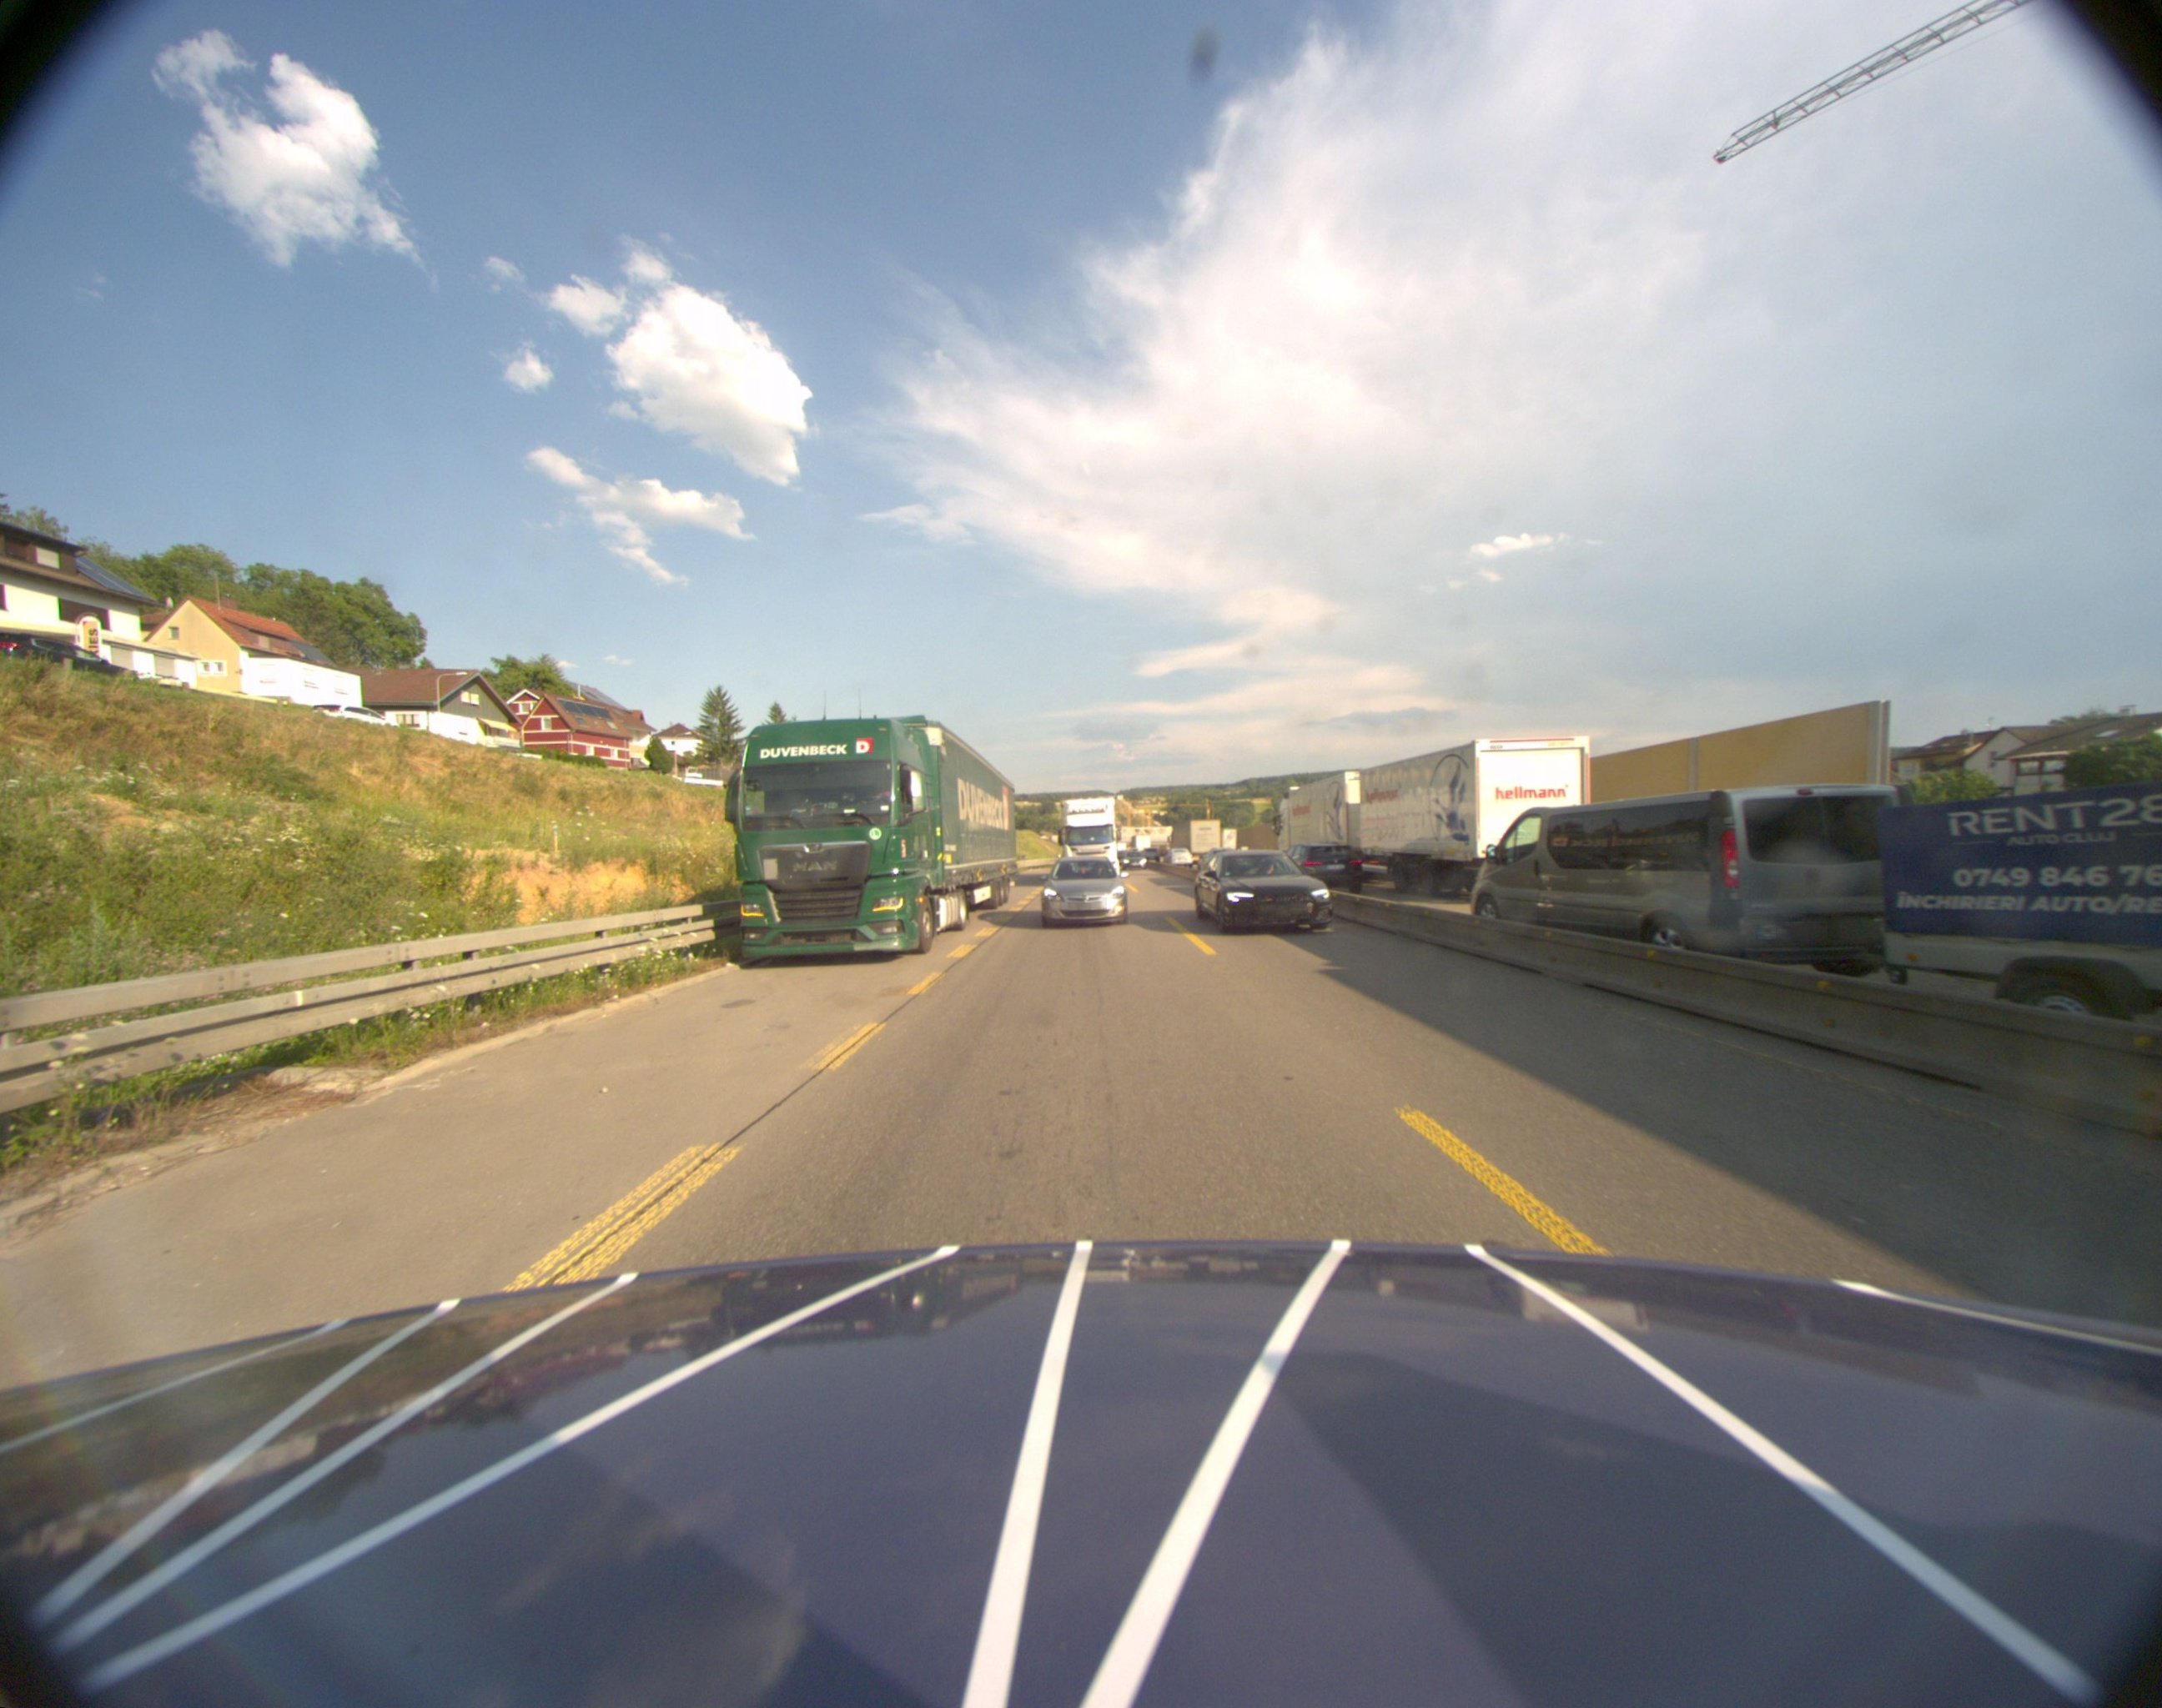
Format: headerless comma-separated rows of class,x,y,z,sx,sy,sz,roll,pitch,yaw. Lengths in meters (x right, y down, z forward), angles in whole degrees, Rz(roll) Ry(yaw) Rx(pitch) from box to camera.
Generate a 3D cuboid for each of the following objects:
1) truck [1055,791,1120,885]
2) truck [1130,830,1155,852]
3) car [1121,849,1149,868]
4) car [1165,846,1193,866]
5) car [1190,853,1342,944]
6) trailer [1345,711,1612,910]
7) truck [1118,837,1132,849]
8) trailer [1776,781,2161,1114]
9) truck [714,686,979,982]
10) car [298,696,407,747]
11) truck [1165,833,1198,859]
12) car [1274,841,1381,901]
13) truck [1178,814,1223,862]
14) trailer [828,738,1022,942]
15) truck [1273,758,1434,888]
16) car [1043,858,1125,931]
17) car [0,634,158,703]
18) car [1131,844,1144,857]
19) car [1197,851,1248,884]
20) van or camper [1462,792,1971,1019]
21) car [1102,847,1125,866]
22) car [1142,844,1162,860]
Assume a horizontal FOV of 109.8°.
truck,0.404,-0.770,39.768,2.741,4.033,12.669,-2,1,1
truck,11.266,-2.297,139.724,3.876,3.766,9.141,-2,1,1
car,4.029,0.321,57.277,1.692,1.293,3.882,-2,1,-1
car,7.483,0.110,58.253,1.624,1.448,3.232,-2,1,0
car,3.327,0.720,14.581,1.873,1.411,4.348,-1,1,1
trailer,10.274,-0.998,21.099,2.834,4.258,8.734,-2,1,1
truck,13.422,-3.233,232.483,3.458,3.476,10.734,-2,1,1
trailer,6.692,0.481,5.028,1.452,1.843,2.984,-2,1,1
truck,-3.642,-0.304,13.525,2.547,3.992,6.071,-2,1,1
car,-39.269,-7.101,41.123,1.999,2.002,3.999,-2,1,-2
truck,10.996,-0.854,83.483,2.694,2.682,7.358,-2,1,1
car,7.130,0.435,22.428,1.861,1.565,4.000,-2,1,1
truck,10.822,-1.376,69.325,2.873,4.038,7.598,-2,1,1
trailer,-3.509,-0.338,20.919,2.554,3.911,12.077,-2,1,1
truck,10.407,-1.090,30.497,2.834,4.239,10.071,-2,1,1
car,0.078,0.842,17.439,1.671,1.425,3.524,-1,1,1
car,-37.897,-6.859,28.432,2.000,1.631,3.997,-2,1,-8
car,8.353,-0.566,113.275,1.691,1.825,3.630,-2,1,1
car,7.134,0.635,38.689,1.889,1.499,3.999,-2,1,1
van or camper,6.707,0.417,9.015,1.868,1.881,5.003,-2,1,1
car,3.087,0.255,72.724,1.998,1.739,4.000,-1,0,1
car,7.664,-0.207,82.451,1.808,1.652,4.000,-2,1,1
